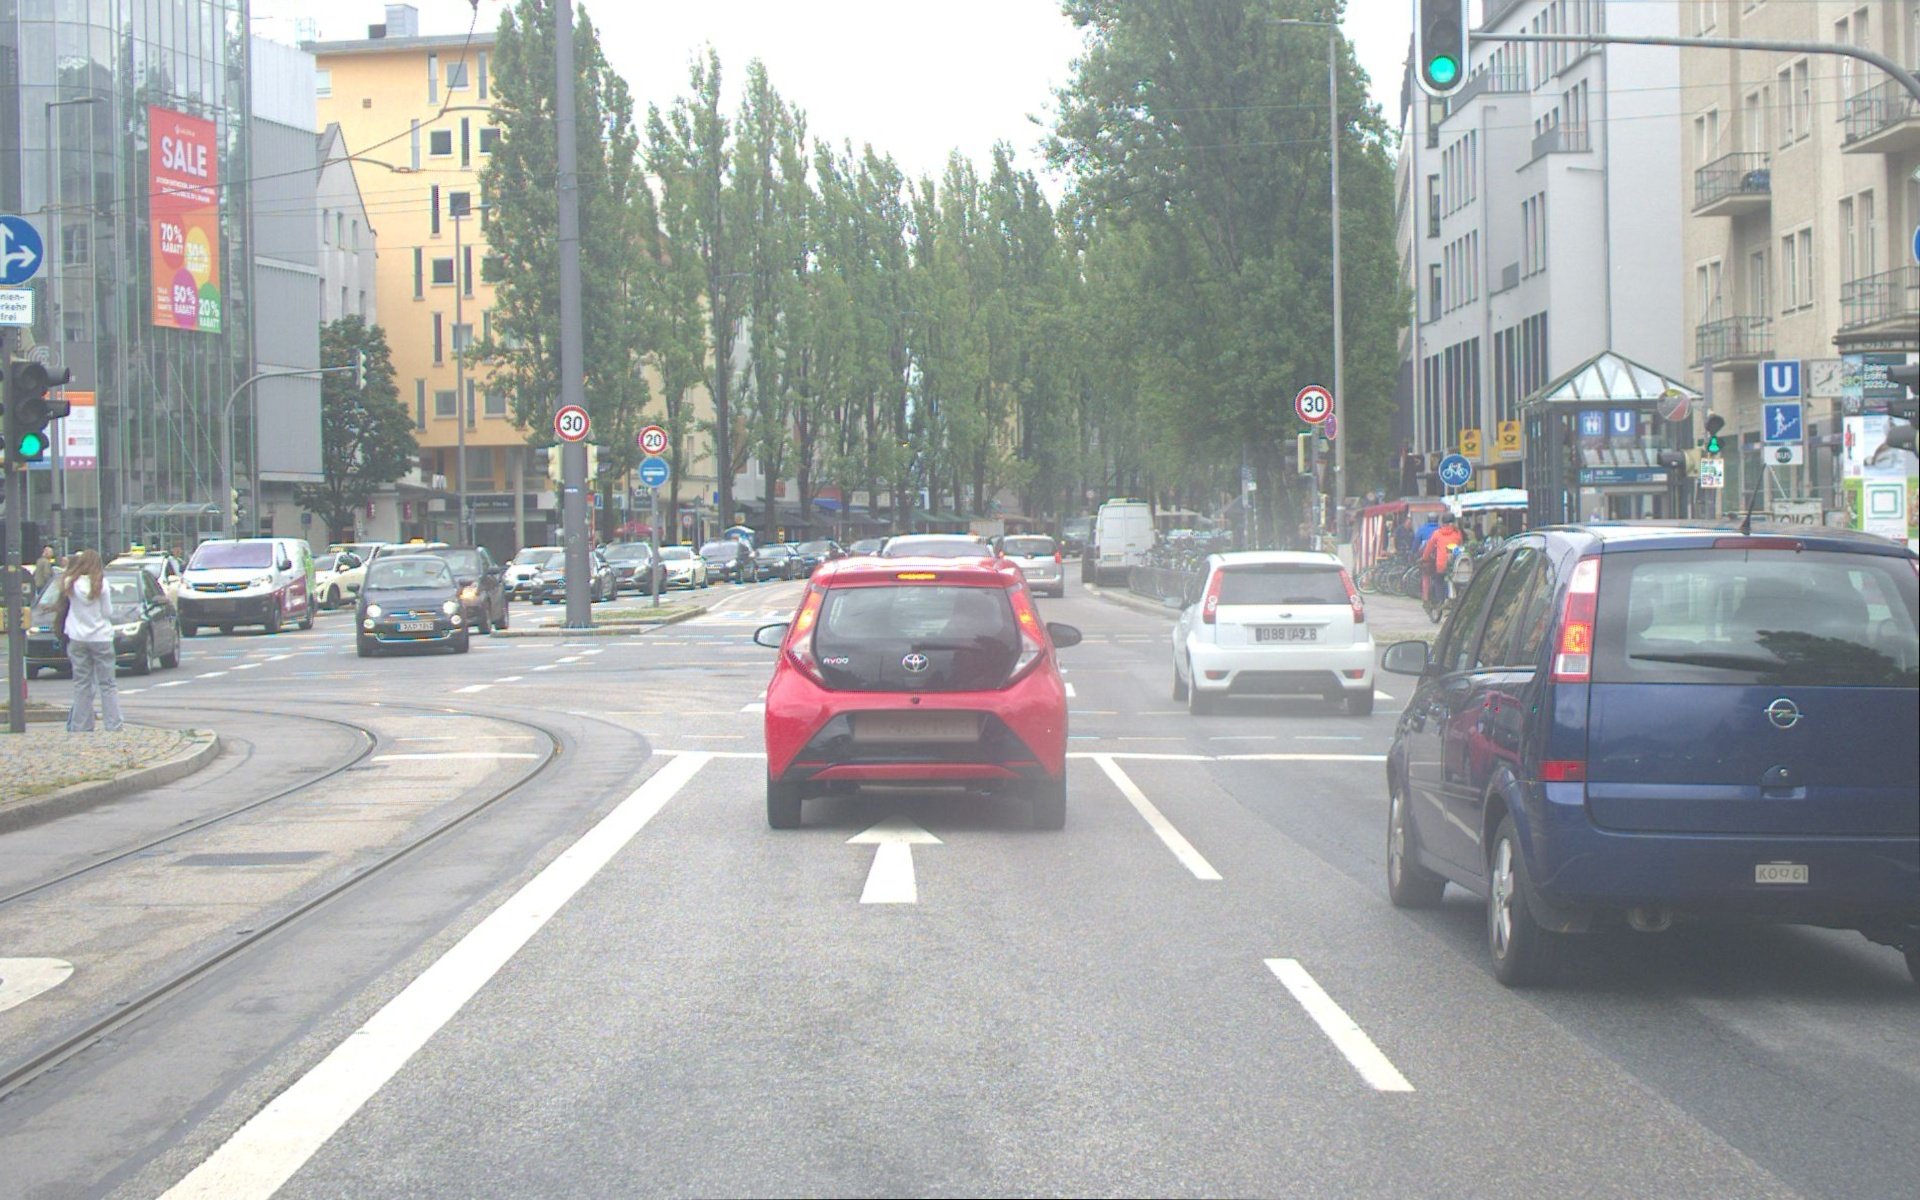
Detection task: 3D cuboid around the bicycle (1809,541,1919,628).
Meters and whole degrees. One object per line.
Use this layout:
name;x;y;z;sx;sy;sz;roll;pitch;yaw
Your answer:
bicycle;12.786;-0.218;48.312;1.568;1.156;0.525;-2;3;3

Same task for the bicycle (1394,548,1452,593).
bicycle;9.991;-0.637;74.248;1.181;0.960;0.369;-1;1;-2

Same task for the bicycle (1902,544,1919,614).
bicycle;15.046;-0.320;52.778;0.494;1.055;1.867;-1;1;-5

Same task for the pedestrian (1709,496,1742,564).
pedestrian;18.546;-1.693;83.275;0.641;1.638;0.563;-1;1;0

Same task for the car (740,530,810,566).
car;-7.253;-2.045;135.173;1.845;1.378;4.599;0;0;9

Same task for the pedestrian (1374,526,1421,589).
pedestrian;10.656;-1.039;83.761;0.808;1.517;0.800;-2;1;-23

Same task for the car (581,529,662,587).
car;-10.266;-1.304;104.653;1.743;1.664;4.732;-1;1;3

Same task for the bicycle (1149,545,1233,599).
bicycle;5.032;-0.613;74.947;1.836;1.164;0.585;0;2;43

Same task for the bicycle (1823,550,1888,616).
bicycle;13.746;-0.274;52.787;0.494;0.971;1.866;-1;1;0

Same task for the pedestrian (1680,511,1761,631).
pedestrian;10.810;-0.417;48.889;0.836;1.685;0.818;0;1;37

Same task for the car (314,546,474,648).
car;-8.585;-0.065;51.934;1.545;1.440;3.540;-2;1;-23

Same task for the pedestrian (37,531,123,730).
pedestrian;-7.253;0.247;28.334;0.486;1.613;0.558;-2;1;-35

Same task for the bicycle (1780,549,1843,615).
bicycle;13.067;-0.288;52.785;0.494;0.971;1.866;-1;1;0

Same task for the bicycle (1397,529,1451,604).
bicycle;8.200;-0.605;60.788;0.614;1.260;2.520;-1;1;0

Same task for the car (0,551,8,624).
car;-21.577;-0.230;73.642;1.993;1.530;4.416;-2;2;-13

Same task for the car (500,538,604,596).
car;-11.078;-0.913;93.635;1.994;1.407;4.167;4;1;4

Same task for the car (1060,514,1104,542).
car;7.742;-4.548;217.606;1.994;1.686;4.411;-1;1;12

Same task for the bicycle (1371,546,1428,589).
bicycle;10.037;-0.738;78.554;1.261;0.960;0.369;-1;1;3

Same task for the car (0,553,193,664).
car;-11.970;0.083;47.547;1.843;1.412;4.035;-1;1;-1

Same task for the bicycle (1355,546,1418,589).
bicycle;9.921;-0.762;80.043;1.432;0.960;0.369;-1;1;6

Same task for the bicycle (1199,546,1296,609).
bicycle;5.395;-0.427;64.550;1.803;1.154;0.547;0;2;38

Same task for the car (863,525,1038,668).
car;-0.132;-0.082;41.723;1.993;1.612;4.000;-1;1;-1

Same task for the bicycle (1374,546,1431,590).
bicycle;10.045;-0.723;78.071;1.261;0.960;0.369;-1;1;10

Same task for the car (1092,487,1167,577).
car;5.316;-2.144;108.148;2.107;2.709;4.804;-1;1;1

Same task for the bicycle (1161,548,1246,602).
bicycle;5.113;-0.526;72.192;1.803;1.107;0.561;0;2;42

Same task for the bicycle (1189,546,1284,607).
bicycle;5.362;-0.448;66.676;1.802;1.154;0.486;0;1;30

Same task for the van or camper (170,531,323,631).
van or camper;-14.086;-0.415;68.158;1.928;1.819;5.441;-2;1;-1

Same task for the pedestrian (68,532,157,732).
pedestrian;-6.924;0.255;28.093;0.521;1.613;0.463;0;1;43

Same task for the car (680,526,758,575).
car;-8.756;-1.830;125.289;1.937;1.733;4.587;0;1;8

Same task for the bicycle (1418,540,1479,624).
bicycle;7.728;-0.299;54.467;0.614;1.260;2.520;-1;1;0

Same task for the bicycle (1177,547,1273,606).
bicycle;5.247;-0.466;68.053;1.803;1.154;0.651;0;2;36

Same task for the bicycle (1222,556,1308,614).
bicycle;5.478;-0.276;61.816;0.498;1.025;1.601;-2;2;-42

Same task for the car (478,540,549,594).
car;-13.637;-1.032;105.243;1.698;1.590;4.000;-1;1;-1

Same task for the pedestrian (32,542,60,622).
pedestrian;-20.198;-0.390;75.975;0.446;1.753;0.355;0;2;42

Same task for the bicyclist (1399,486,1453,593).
bicyclist;8.243;-1.073;60.859;0.762;1.863;1.133;-1;1;0

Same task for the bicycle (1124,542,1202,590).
bicycle;4.928;-0.820;83.556;1.836;1.132;0.585;0;2;36

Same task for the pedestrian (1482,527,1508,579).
pedestrian;14.669;-1.297;94.221;0.598;1.397;0.580;-1;1;0

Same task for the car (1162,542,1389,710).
car;2.847;0.201;31.681;1.699;1.421;3.497;-1;1;-1

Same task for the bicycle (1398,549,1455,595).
bicycle;9.999;-0.608;73.705;1.181;0.960;0.369;-1;1;4

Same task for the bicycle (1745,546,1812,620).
bicycle;12.566;-0.270;52.806;0.566;1.104;1.866;-1;1;0

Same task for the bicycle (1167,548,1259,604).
bicycle;5.160;-0.485;70.116;1.803;1.107;0.651;0;2;37

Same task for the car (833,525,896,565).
car;-4.210;-2.440;152.391;1.994;1.686;4.920;-1;1;8

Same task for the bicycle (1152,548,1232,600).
bicycle;5.016;-0.569;74.284;1.803;1.107;0.490;0;2;43

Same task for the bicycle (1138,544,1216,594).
bicycle;5.032;-0.727;79.868;1.836;1.132;0.585;0;2;43

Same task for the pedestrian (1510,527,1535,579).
pedestrian;15.414;-1.288;94.192;0.574;1.397;0.580;-1;1;0

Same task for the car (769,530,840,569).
car;-6.424;-2.094;142.499;1.994;1.529;4.586;-1;1;10

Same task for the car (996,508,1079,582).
car;1.956;-1.409;88.000;1.993;1.831;4.000;-1;1;0

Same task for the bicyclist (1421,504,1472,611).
bicyclist;7.726;-0.682;54.581;0.614;1.652;1.251;-1;1;0

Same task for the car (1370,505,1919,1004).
car;2.618;0.468;12.892;1.703;1.584;3.556;1;1;0

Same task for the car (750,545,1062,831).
car;-0.261;0.430;19.299;1.605;1.456;3.130;0;1;1

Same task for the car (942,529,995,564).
car;0.431;-2.722;173.928;1.994;1.722;3.915;-1;1;10

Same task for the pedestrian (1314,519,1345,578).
pedestrian;10.907;-1.509;101.510;0.790;1.722;0.764;-1;1;0

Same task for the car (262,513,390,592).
car;-16.764;-1.276;91.210;1.994;2.007;5.522;-1;1;4

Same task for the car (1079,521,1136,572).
car;4.886;-1.787;114.303;1.703;1.657;3.556;-1;1;0

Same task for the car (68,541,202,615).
car;-18.592;-0.517;77.623;1.901;1.537;4.393;-1;1;0

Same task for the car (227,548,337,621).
car;-14.832;-0.357;75.371;1.664;1.503;4.282;-1;1;-2

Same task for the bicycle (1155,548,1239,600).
bicycle;5.076;-0.555;73.619;1.803;1.107;0.585;0;2;43

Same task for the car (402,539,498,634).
car;-8.535;-0.243;57.431;1.503;1.529;2.838;-1;1;-9
